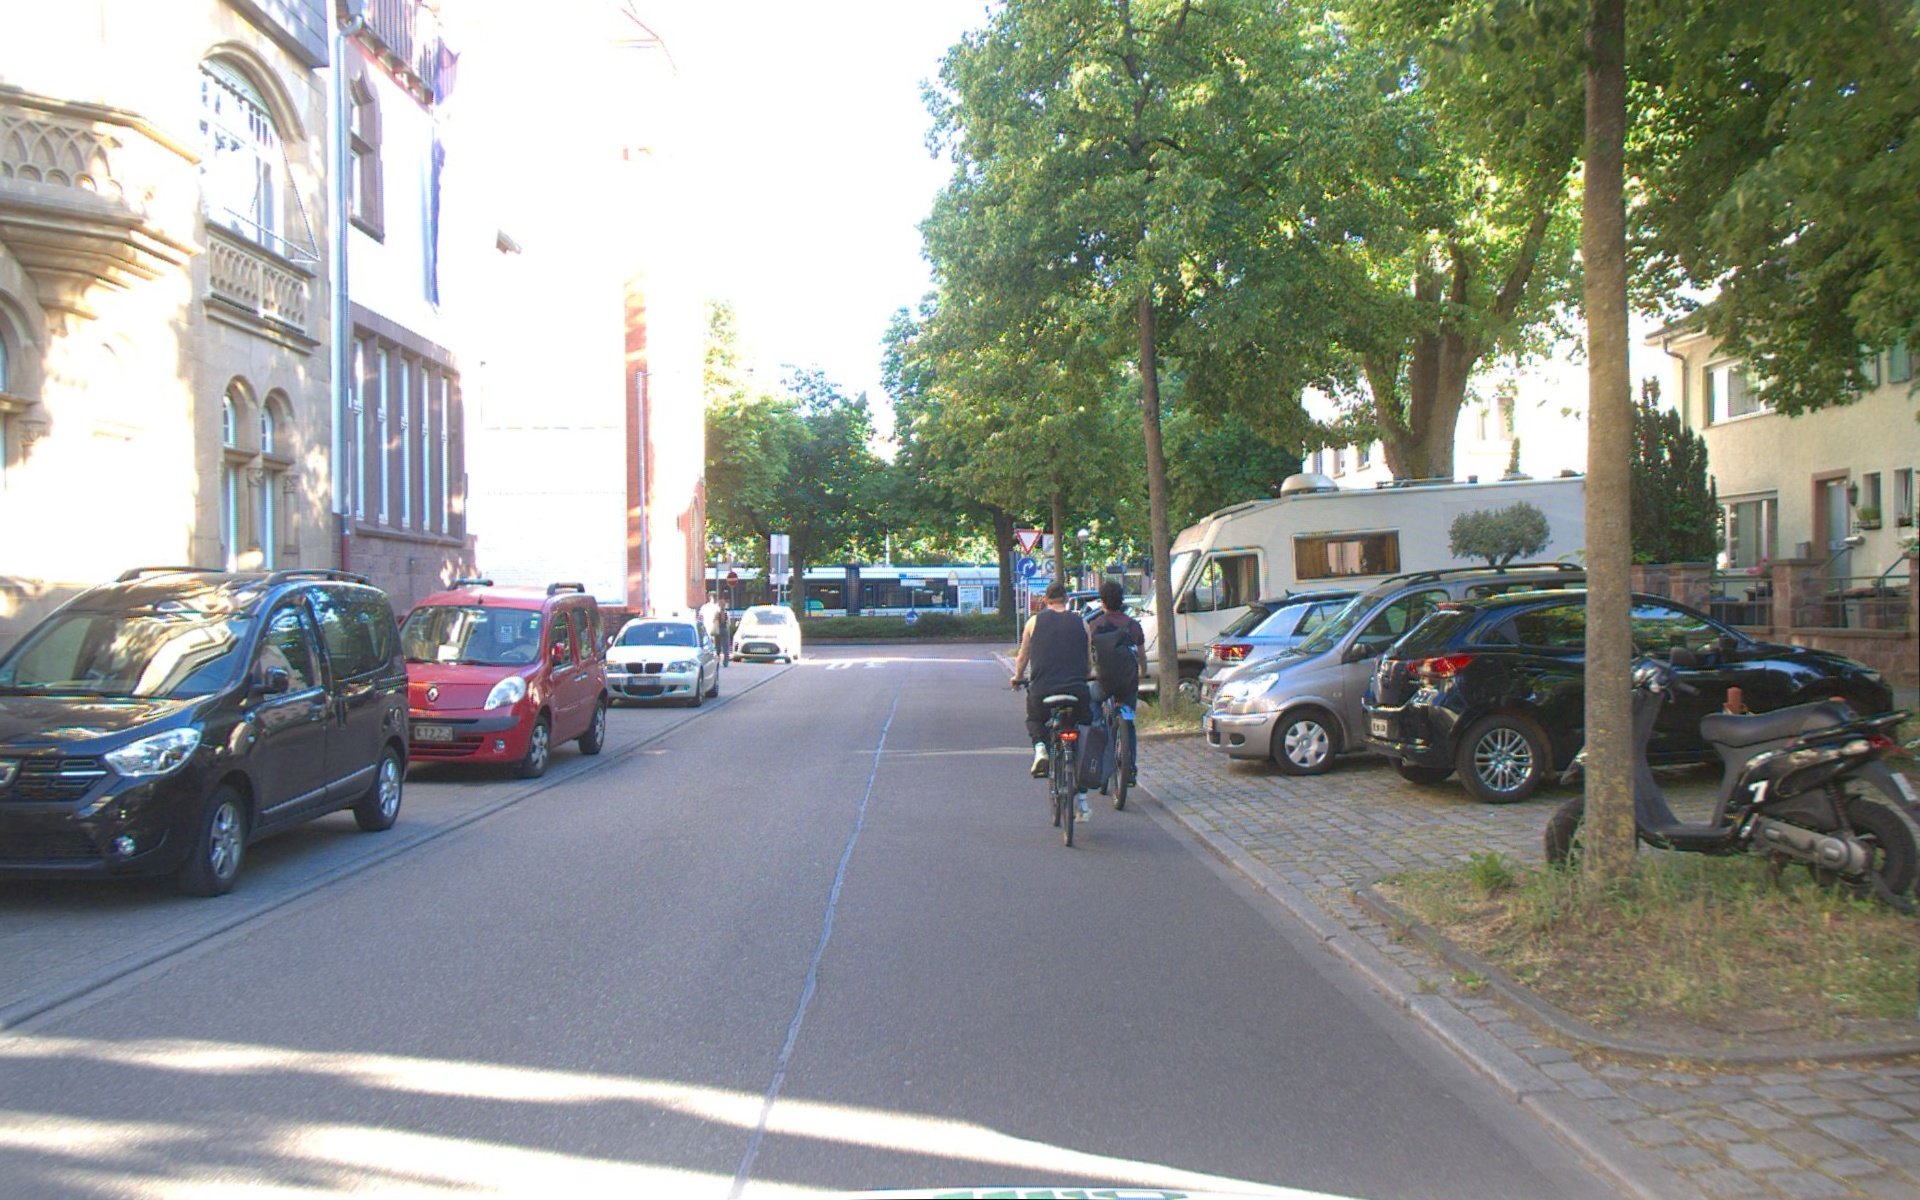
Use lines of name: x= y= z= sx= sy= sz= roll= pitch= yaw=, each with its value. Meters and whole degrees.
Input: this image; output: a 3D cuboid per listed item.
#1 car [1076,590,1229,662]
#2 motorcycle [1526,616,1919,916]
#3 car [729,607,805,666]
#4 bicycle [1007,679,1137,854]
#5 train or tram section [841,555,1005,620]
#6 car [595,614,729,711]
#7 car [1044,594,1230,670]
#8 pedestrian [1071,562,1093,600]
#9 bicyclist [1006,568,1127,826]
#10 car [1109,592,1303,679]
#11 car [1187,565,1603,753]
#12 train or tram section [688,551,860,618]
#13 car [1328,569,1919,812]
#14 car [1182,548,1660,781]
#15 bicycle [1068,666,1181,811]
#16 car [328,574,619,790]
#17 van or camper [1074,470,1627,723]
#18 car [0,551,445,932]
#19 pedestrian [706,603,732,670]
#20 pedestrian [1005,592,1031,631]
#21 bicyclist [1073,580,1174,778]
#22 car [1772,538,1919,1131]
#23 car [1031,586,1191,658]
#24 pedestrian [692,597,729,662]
car: x=4.721 y=0.633 z=40.959 sx=3.616 sy=1.680 sz=1.704 roll=-1 pitch=0 yaw=2
motorcycle: x=3.621 y=0.699 z=7.642 sx=0.732 sy=1.218 sz=1.747 roll=-1 pitch=0 yaw=-45
car: x=-5.282 y=0.975 z=45.651 sx=1.670 sy=1.511 sz=3.796 roll=1 pitch=0 yaw=-1
bicycle: x=0.738 y=1.103 z=11.509 sx=0.722 sy=1.030 sz=2.061 roll=1 pitch=-1 yaw=-1
train or tram section: x=-1.955 y=-0.623 z=88.439 sx=8.305 sy=3.257 sz=2.841 roll=1 pitch=0 yaw=-24
car: x=-4.972 y=1.001 z=28.031 sx=1.709 sy=1.492 sz=4.101 roll=0 pitch=0 yaw=-3
car: x=4.025 y=0.713 z=38.084 sx=4.022 sy=1.436 sz=1.792 roll=-4 pitch=0 yaw=-1
pedestrian: x=5.523 y=-0.855 z=75.134 sx=0.896 sy=1.713 sz=0.781 roll=-1 pitch=0 yaw=9
bicyclist: x=0.723 y=0.650 z=11.536 sx=0.737 sy=1.711 sz=0.913 roll=-1 pitch=0 yaw=-1
car: x=4.846 y=0.681 z=32.928 sx=3.518 sy=1.531 sz=1.677 roll=-2 pitch=0 yaw=-3
car: x=4.522 y=0.613 z=17.686 sx=3.881 sy=1.626 sz=1.903 roll=-4 pitch=-1 yaw=1
train or tram section: x=-9.546 y=-0.770 z=85.053 sx=8.305 sy=3.233 sz=2.841 roll=1 pitch=0 yaw=-24
car: x=5.001 y=0.647 z=12.742 sx=3.801 sy=1.498 sz=1.785 roll=-3 pitch=-1 yaw=-6
car: x=4.140 y=0.567 z=15.287 sx=3.836 sy=1.774 sz=1.729 roll=-4 pitch=-1 yaw=-1
bicycle: x=1.332 y=1.106 z=13.741 sx=0.660 sy=1.072 sz=2.060 roll=-1 pitch=-2 yaw=-1
car: x=-4.848 y=0.749 z=17.146 sx=1.762 sy=1.940 sz=4.323 roll=1 pitch=0 yaw=-1
van or camper: x=5.198 y=-0.062 z=22.721 sx=6.936 sy=3.131 sz=2.463 roll=-1 pitch=0 yaw=-4
car: x=-4.808 y=0.698 z=10.450 sx=1.734 sy=1.884 sz=4.541 roll=0 pitch=0 yaw=-1
pedestrian: x=-5.946 y=0.897 z=40.858 sx=0.588 sy=1.633 sz=0.853 roll=-1 pitch=0 yaw=-7
pedestrian: x=2.934 y=0.596 z=84.114 sx=1.003 sy=1.930 sz=0.906 roll=-1 pitch=0 yaw=-23
bicyclist: x=1.325 y=0.634 z=13.589 sx=0.658 sy=1.541 sz=1.068 roll=-1 pitch=-1 yaw=-2
car: x=4.753 y=0.542 z=4.341 sx=4.246 sy=1.636 sz=1.927 roll=-3 pitch=-1 yaw=-2
car: x=4.110 y=0.571 z=45.353 sx=4.026 sy=1.742 sz=2.022 roll=-2 pitch=1 yaw=-6
pedestrian: x=-6.605 y=0.772 z=43.794 sx=0.849 sy=1.672 sz=0.860 roll=-1 pitch=0 yaw=-1
